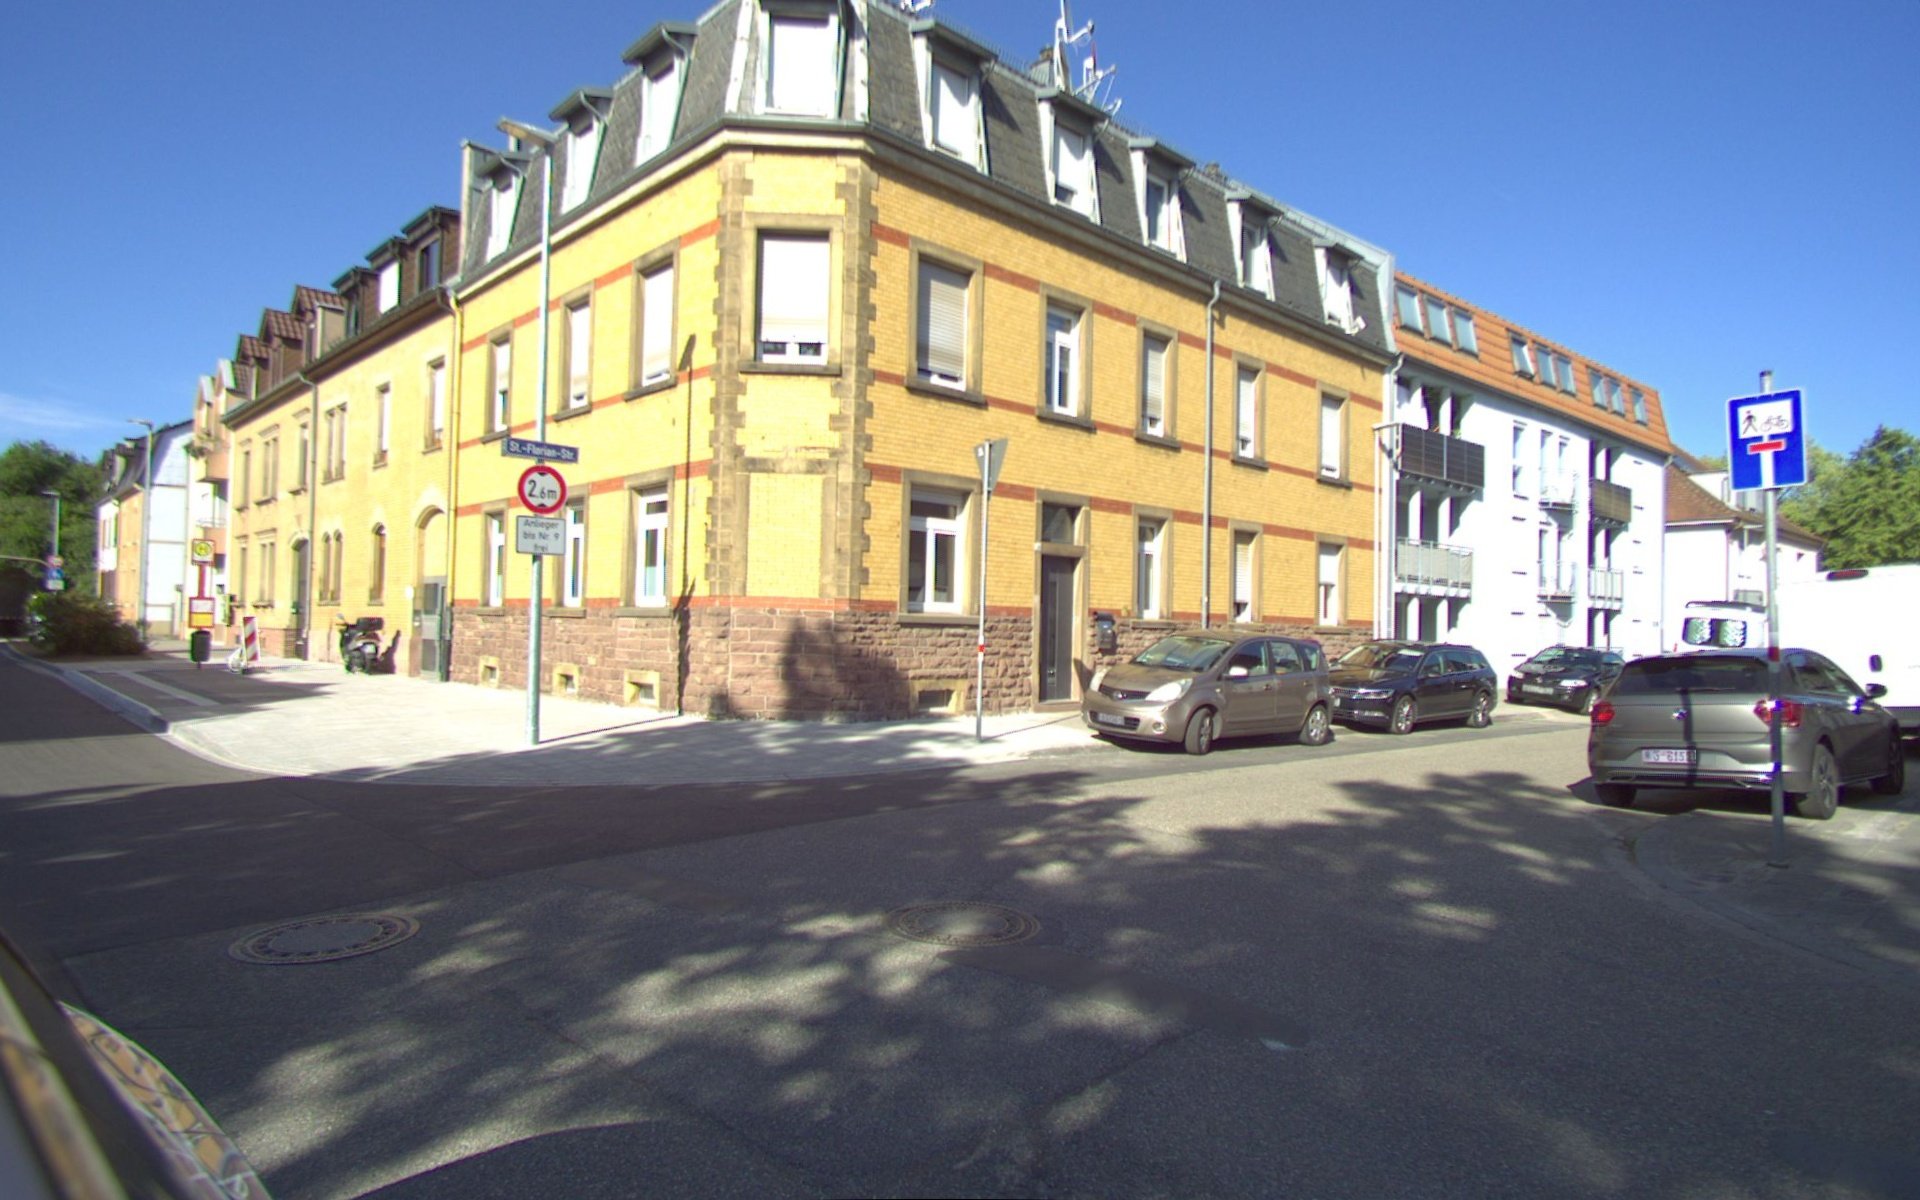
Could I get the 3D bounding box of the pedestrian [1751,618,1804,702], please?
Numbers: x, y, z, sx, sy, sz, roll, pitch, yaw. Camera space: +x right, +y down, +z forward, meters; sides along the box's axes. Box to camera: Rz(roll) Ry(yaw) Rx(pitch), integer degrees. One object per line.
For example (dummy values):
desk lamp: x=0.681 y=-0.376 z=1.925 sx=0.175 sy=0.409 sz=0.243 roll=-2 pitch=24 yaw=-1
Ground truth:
pedestrian: x=20.692 y=1.494 z=25.611 sx=1.141 sy=2.029 sz=0.898 roll=-1 pitch=0 yaw=-44

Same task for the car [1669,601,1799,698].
car: x=23.392 y=1.513 z=30.528 sx=4.760 sy=2.621 sz=2.121 roll=4 pitch=-1 yaw=-41

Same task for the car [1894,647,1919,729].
car: x=18.993 y=1.610 z=18.715 sx=3.868 sy=1.459 sz=1.861 roll=3 pitch=-6 yaw=-38

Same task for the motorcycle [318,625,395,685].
motorcycle: x=-13.700 y=1.208 z=22.946 sx=2.256 sy=1.262 sz=0.837 roll=-1 pitch=0 yaw=41

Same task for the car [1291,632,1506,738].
car: x=7.676 y=1.422 z=17.575 sx=3.951 sy=1.556 sz=1.719 roll=3 pitch=-1 yaw=-38

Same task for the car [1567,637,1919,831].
car: x=7.615 y=1.166 z=9.602 sx=3.868 sy=1.459 sz=1.861 roll=3 pitch=-6 yaw=-38

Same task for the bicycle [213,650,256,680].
bicycle: x=-16.908 y=1.503 z=23.614 sx=0.377 sy=0.614 sz=1.346 roll=-1 pitch=0 yaw=-16

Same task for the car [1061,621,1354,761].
car: x=3.414 y=1.162 z=13.640 sx=3.951 sy=1.556 sz=1.719 roll=3 pitch=-1 yaw=-38

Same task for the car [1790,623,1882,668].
car: x=34.694 y=1.803 z=40.032 sx=4.758 sy=1.504 sz=1.892 roll=4 pitch=-1 yaw=-39

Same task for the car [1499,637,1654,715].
car: x=14.444 y=1.757 z=23.585 sx=4.763 sy=1.504 sz=1.890 roll=4 pitch=-1 yaw=-44

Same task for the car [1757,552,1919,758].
car: x=13.922 y=0.839 z=14.829 sx=5.378 sy=2.586 sz=2.178 roll=3 pitch=-6 yaw=-38
